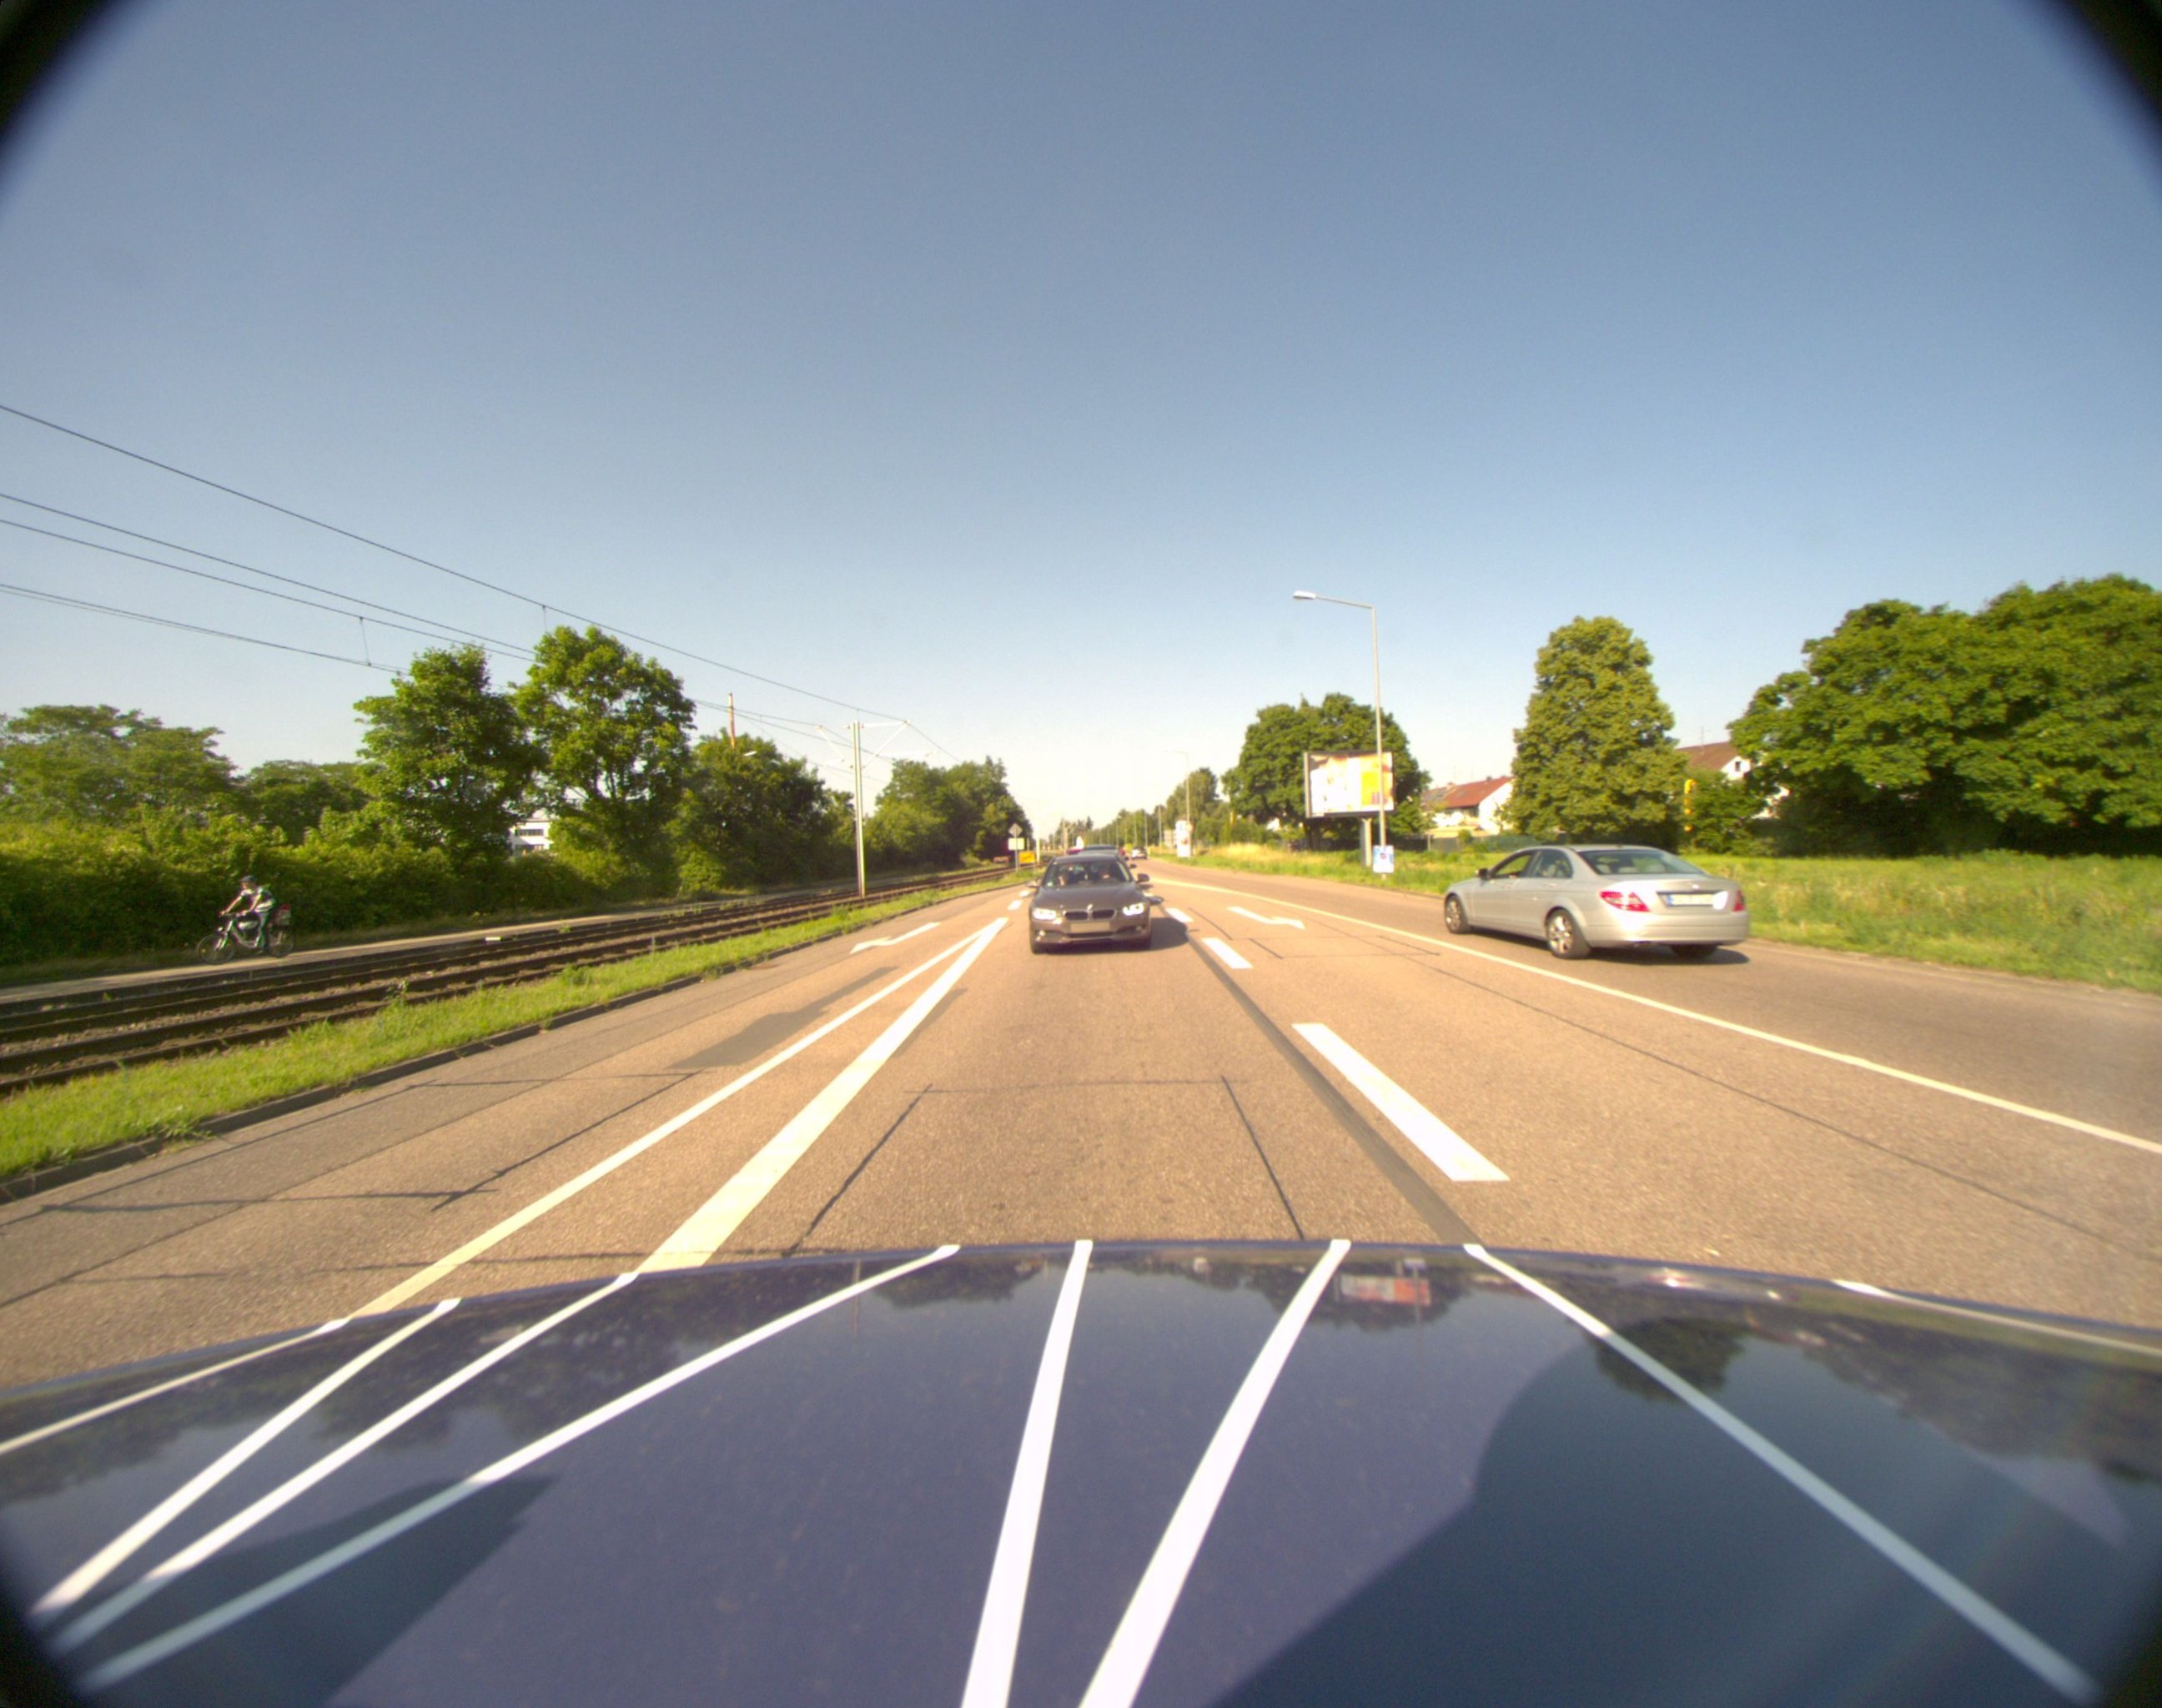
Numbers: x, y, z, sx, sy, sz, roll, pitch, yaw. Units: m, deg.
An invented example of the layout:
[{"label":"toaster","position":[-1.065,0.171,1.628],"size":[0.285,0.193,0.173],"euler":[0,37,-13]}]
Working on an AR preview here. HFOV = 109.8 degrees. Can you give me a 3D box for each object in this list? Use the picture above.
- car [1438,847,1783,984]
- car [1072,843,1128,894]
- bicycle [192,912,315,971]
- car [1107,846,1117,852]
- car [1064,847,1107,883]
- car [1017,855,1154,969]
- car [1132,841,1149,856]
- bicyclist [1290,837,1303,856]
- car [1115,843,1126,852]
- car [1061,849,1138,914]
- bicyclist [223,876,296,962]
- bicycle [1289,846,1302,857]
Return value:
[{"label":"car","position":[6.716,0.643,10.357],"size":[1.706,1.457,4.369],"euler":[-1,1,1]},{"label":"car","position":[0.711,0.450,28.126],"size":[1.821,1.641,4.610],"euler":[-3,1,1]},{"label":"bicycle","position":[-18.052,1.877,16.643],"size":[0.547,1.041,1.874],"euler":[-2,1,2]},{"label":"car","position":[7.448,-1.192,181.220],"size":[1.782,1.469,4.275],"euler":[-1,1,11]},{"label":"car","position":[0.248,0.453,35.150],"size":[1.807,1.498,4.197],"euler":[-2,1,1]},{"label":"car","position":[0.120,0.812,12.771],"size":[1.821,1.416,4.461],"euler":[-3,1,2]},{"label":"car","position":[6.608,-0.615,84.366],"size":[1.637,1.551,3.675],"euler":[-2,1,1]},{"label":"bicyclist","position":[16.330,-0.596,57.672],"size":[0.638,1.420,1.071],"euler":[-2,1,1]},{"label":"car","position":[6.492,-1.133,125.339],"size":[1.698,1.490,3.675],"euler":[-1,1,1]},{"label":"car","position":[0.504,0.659,20.797],"size":[1.821,1.481,4.610],"euler":[-2,1,1]},{"label":"bicyclist","position":[-18.076,1.410,16.731],"size":[0.708,1.797,0.717],"euler":[-2,1,2]},{"label":"bicycle","position":[16.315,-0.193,57.859],"size":[0.455,0.749,1.834],"euler":[-2,1,1]}]
